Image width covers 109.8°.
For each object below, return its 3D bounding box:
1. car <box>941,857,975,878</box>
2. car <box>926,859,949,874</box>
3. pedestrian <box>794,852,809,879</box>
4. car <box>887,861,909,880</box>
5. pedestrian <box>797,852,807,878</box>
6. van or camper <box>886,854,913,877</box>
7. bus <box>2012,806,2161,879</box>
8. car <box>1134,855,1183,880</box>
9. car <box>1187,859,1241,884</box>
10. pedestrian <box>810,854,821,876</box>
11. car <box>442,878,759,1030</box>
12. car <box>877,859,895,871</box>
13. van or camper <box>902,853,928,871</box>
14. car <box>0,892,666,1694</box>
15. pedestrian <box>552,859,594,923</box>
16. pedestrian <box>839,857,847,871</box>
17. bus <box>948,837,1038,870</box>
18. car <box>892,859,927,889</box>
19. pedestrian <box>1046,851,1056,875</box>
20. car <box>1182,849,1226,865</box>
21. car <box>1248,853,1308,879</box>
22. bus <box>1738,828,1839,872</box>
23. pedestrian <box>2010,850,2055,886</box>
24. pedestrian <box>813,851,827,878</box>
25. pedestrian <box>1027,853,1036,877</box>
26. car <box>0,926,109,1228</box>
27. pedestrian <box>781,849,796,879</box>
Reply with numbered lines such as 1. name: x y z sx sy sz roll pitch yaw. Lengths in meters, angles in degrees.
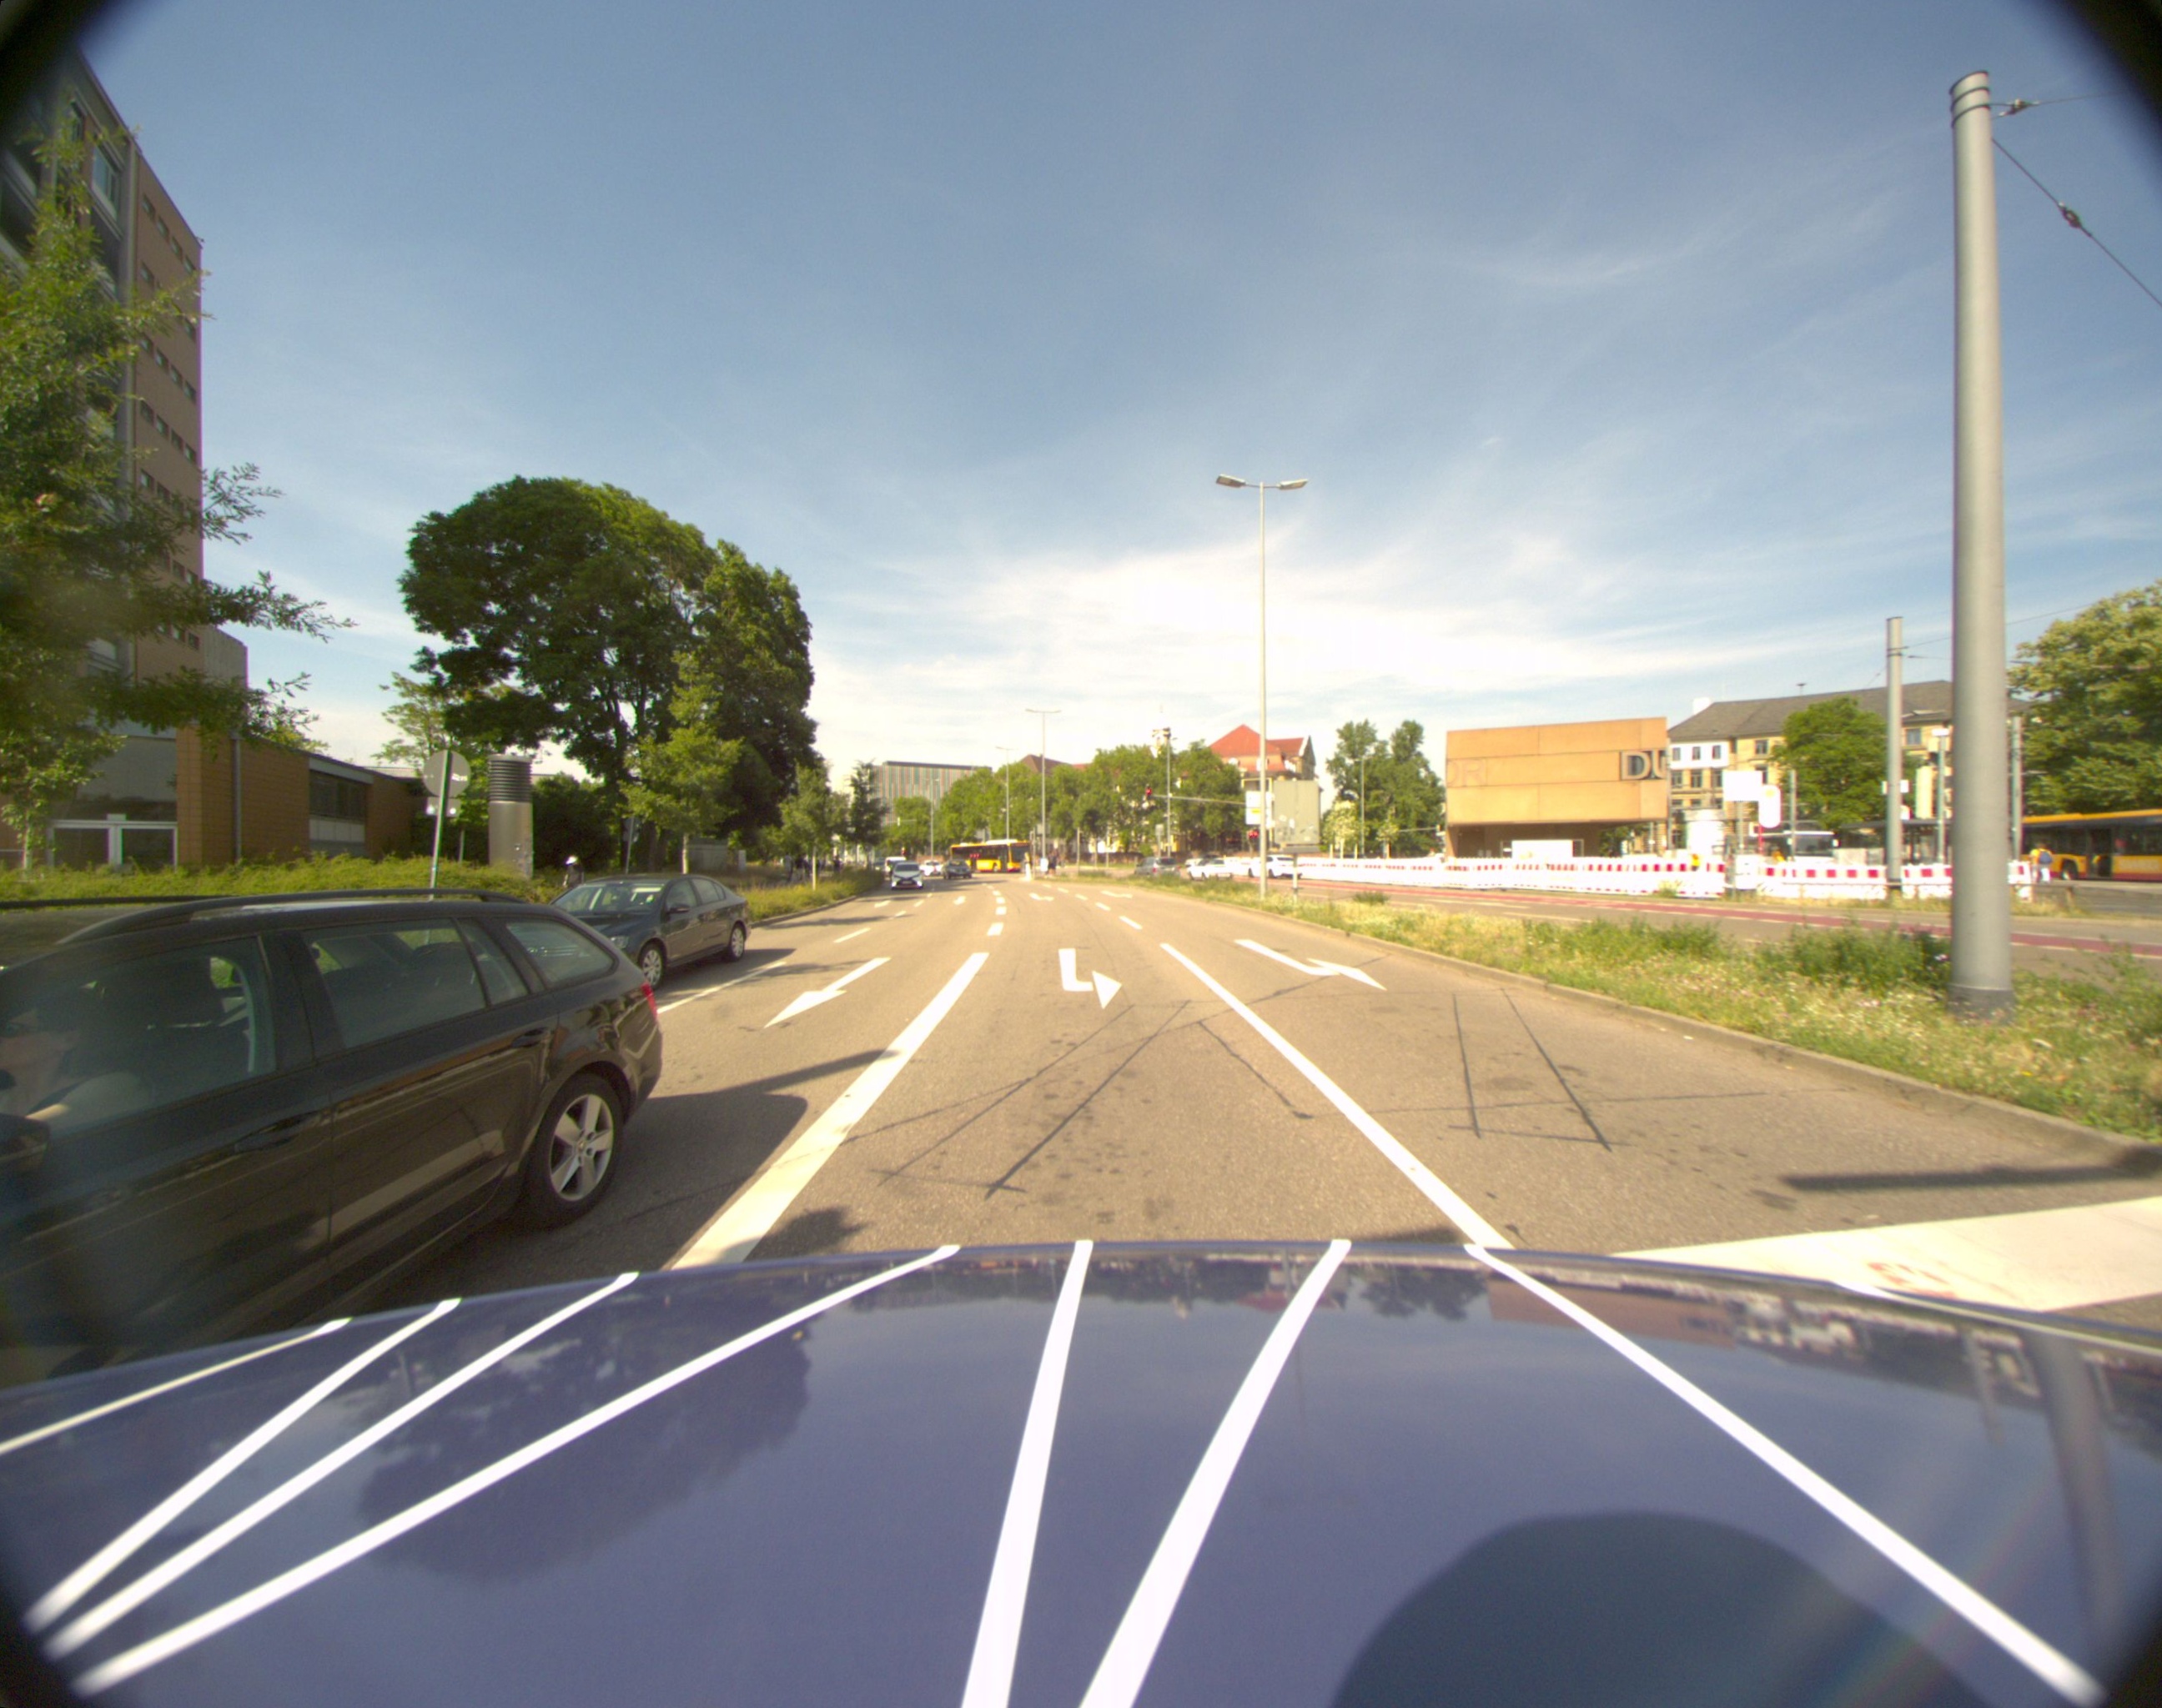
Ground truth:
1. car: -9.420 1.003 58.035 1.653 1.416 4.113 -3 1 -21
2. car: -12.871 1.106 67.897 1.492 1.286 3.480 0 0 -19
3. pedestrian: -17.267 0.697 46.957 0.643 1.617 0.731 1 1 -1
4. car: -12.956 1.166 53.817 1.411 1.287 3.576 -1 0 -15
5. pedestrian: -18.728 0.748 50.997 0.644 1.754 0.474 1 1 -22
6. van or camper: -16.162 0.975 67.455 1.732 1.877 4.914 -3 1 -19
7. bus: 42.068 -0.531 29.546 2.752 2.667 11.807 -2 1 26
8. car: 4.390 0.753 43.565 1.600 1.279 3.995 -2 1 -12
9. car: 7.541 0.967 43.307 1.600 1.279 3.995 -2 1 -12
10. pedestrian: -17.931 0.723 51.350 0.644 1.438 0.568 1 1 -22
11. car: -6.183 1.157 10.543 1.635 1.427 4.527 -1 1 -3
12. car: -20.881 1.165 81.400 1.492 1.286 3.480 0 0 -21
13. van or camper: -17.805 0.826 81.243 1.923 1.876 4.913 -1 0 -21
14. car: -2.980 0.965 1.680 1.635 1.427 4.778 -1 1 -3
15. pedestrian: -13.400 0.964 20.056 0.593 1.654 0.731 1 1 -1
16. pedestrian: -20.341 0.867 65.029 0.644 1.125 0.751 1 1 -17
17. bus: -8.779 0.013 73.841 2.802 3.020 12.116 -1 0 -37
18. car: -9.322 1.053 41.215 1.683 1.466 3.755 -3 1 -15
19. pedestrian: -2.068 0.633 52.437 0.643 1.664 0.752 0 0 -2
20. car: 12.574 0.304 77.555 4.118 1.435 1.756 -3 1 -26
21. car: 11.778 0.690 45.706 1.804 1.412 3.995 -2 1 -12
22. bus: 57.667 -0.306 62.326 2.751 3.303 11.810 0 0 26
23. pedestrian: 36.426 0.527 29.093 0.539 1.359 0.912 -2 1 -1
24. pedestrian: -16.314 0.646 47.539 0.643 1.664 0.752 1 1 -1
25. pedestrian: -3.376 0.754 51.949 0.541 1.664 0.752 0 0 -1
26. car: -6.096 1.121 1.857 1.704 1.421 4.398 -3 0 1
27. pedestrian: -18.080 0.617 46.939 0.643 1.827 0.731 1 1 -1
